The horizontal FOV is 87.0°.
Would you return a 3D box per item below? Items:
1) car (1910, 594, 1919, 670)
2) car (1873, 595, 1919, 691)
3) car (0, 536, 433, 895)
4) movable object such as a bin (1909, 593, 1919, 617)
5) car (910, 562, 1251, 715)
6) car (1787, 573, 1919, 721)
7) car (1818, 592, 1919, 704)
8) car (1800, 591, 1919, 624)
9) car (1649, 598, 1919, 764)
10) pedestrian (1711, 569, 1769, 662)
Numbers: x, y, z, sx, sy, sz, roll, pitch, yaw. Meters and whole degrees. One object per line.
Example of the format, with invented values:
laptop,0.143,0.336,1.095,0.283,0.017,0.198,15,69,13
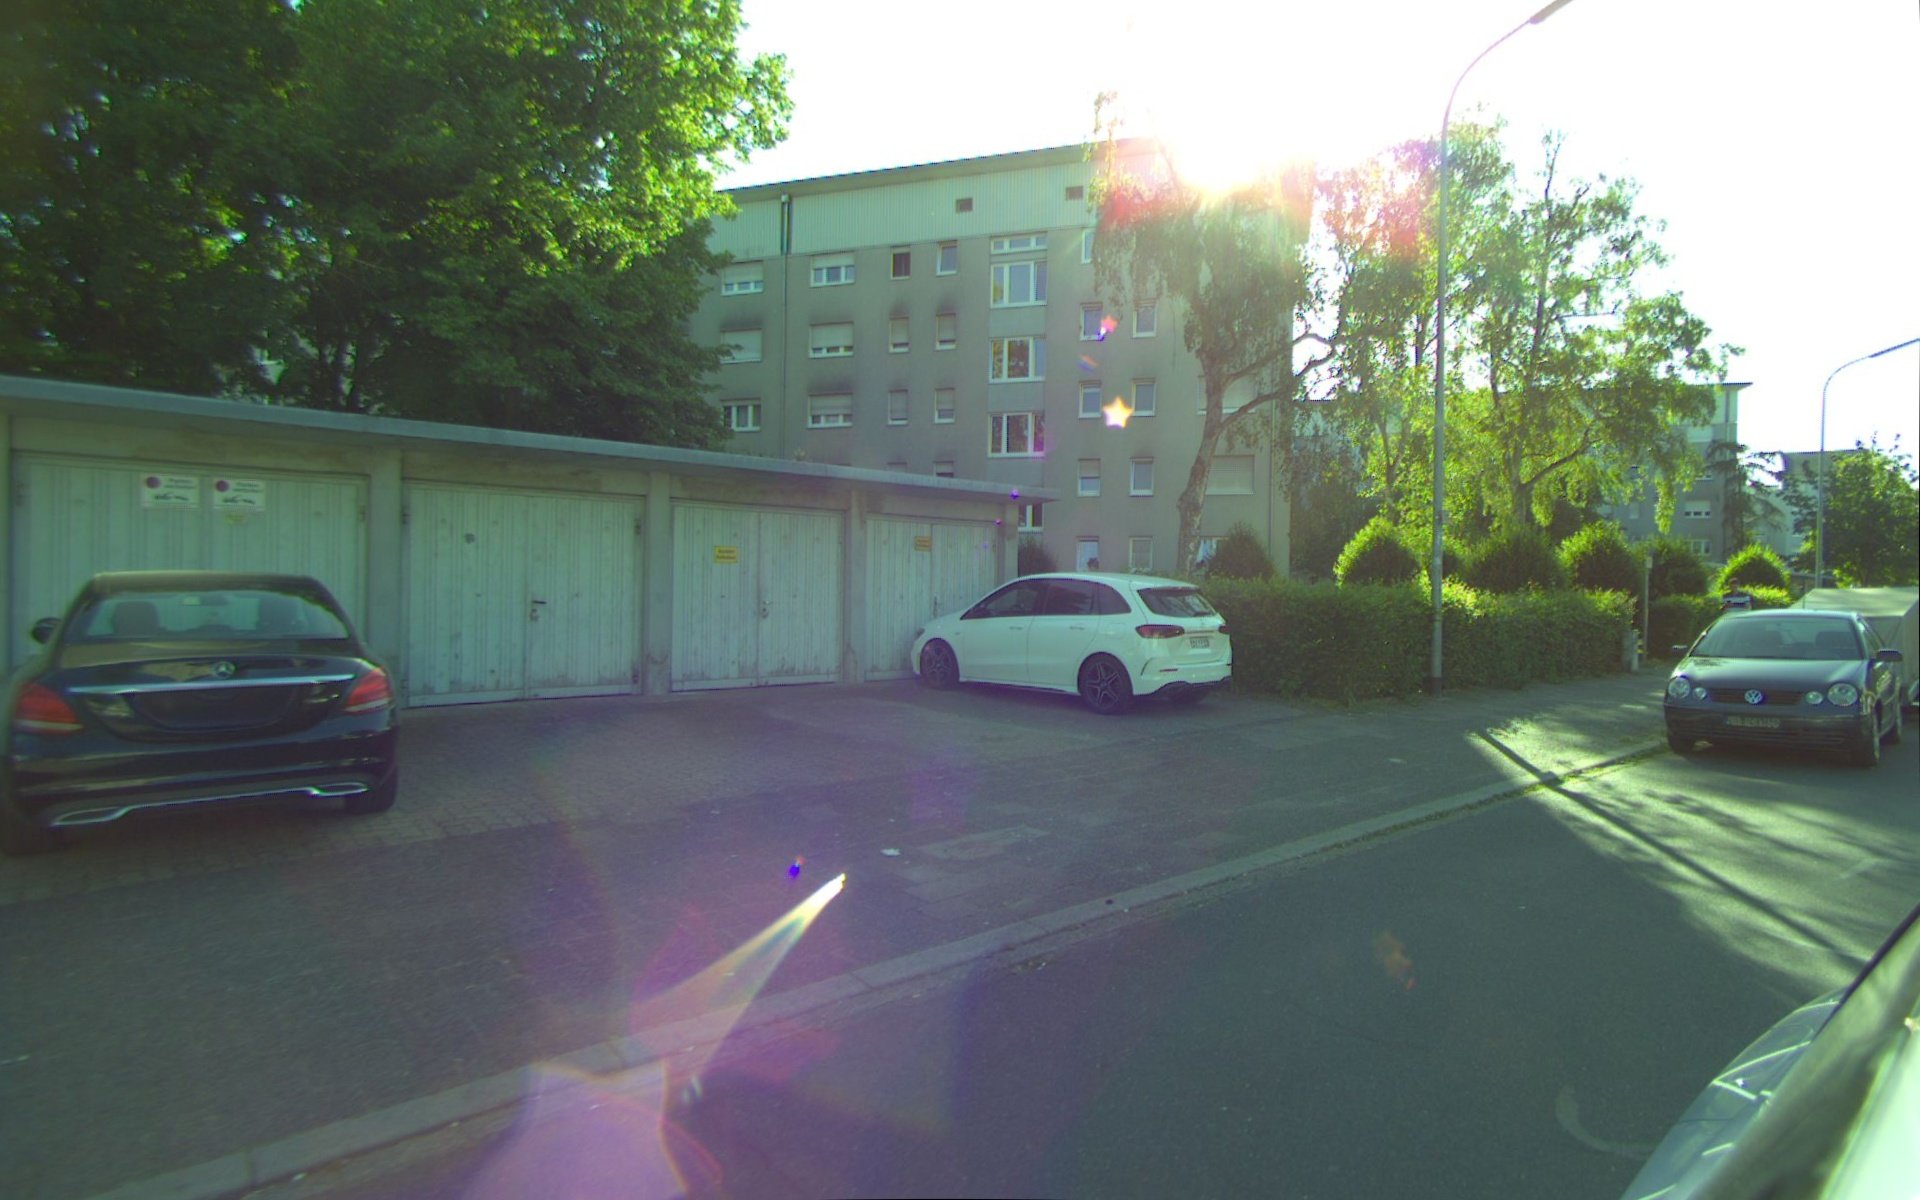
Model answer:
car,21.163,0.630,21.082,3.966,1.509,1.625,0,-1,-41
car,17.056,0.673,17.325,4.425,1.509,1.733,0,-1,-43
car,-4.900,0.409,6.562,1.795,1.532,4.525,0,2,-38
movable object such as a bin,57.967,0.282,60.821,1.324,1.449,1.013,1,0,44
car,1.340,0.344,12.483,1.798,1.532,3.948,0,2,-43
car,11.934,0.553,13.098,2.538,1.740,1.491,0,-1,-41
car,14.084,0.664,15.095,2.510,1.543,1.419,0,-1,-37
car,43.103,0.333,48.507,1.787,1.513,4.187,0,0,-43
car,8.767,0.694,10.621,3.829,1.421,1.733,0,0,-43
pedestrian,16.557,0.318,21.488,0.857,1.911,0.705,0,3,-39
